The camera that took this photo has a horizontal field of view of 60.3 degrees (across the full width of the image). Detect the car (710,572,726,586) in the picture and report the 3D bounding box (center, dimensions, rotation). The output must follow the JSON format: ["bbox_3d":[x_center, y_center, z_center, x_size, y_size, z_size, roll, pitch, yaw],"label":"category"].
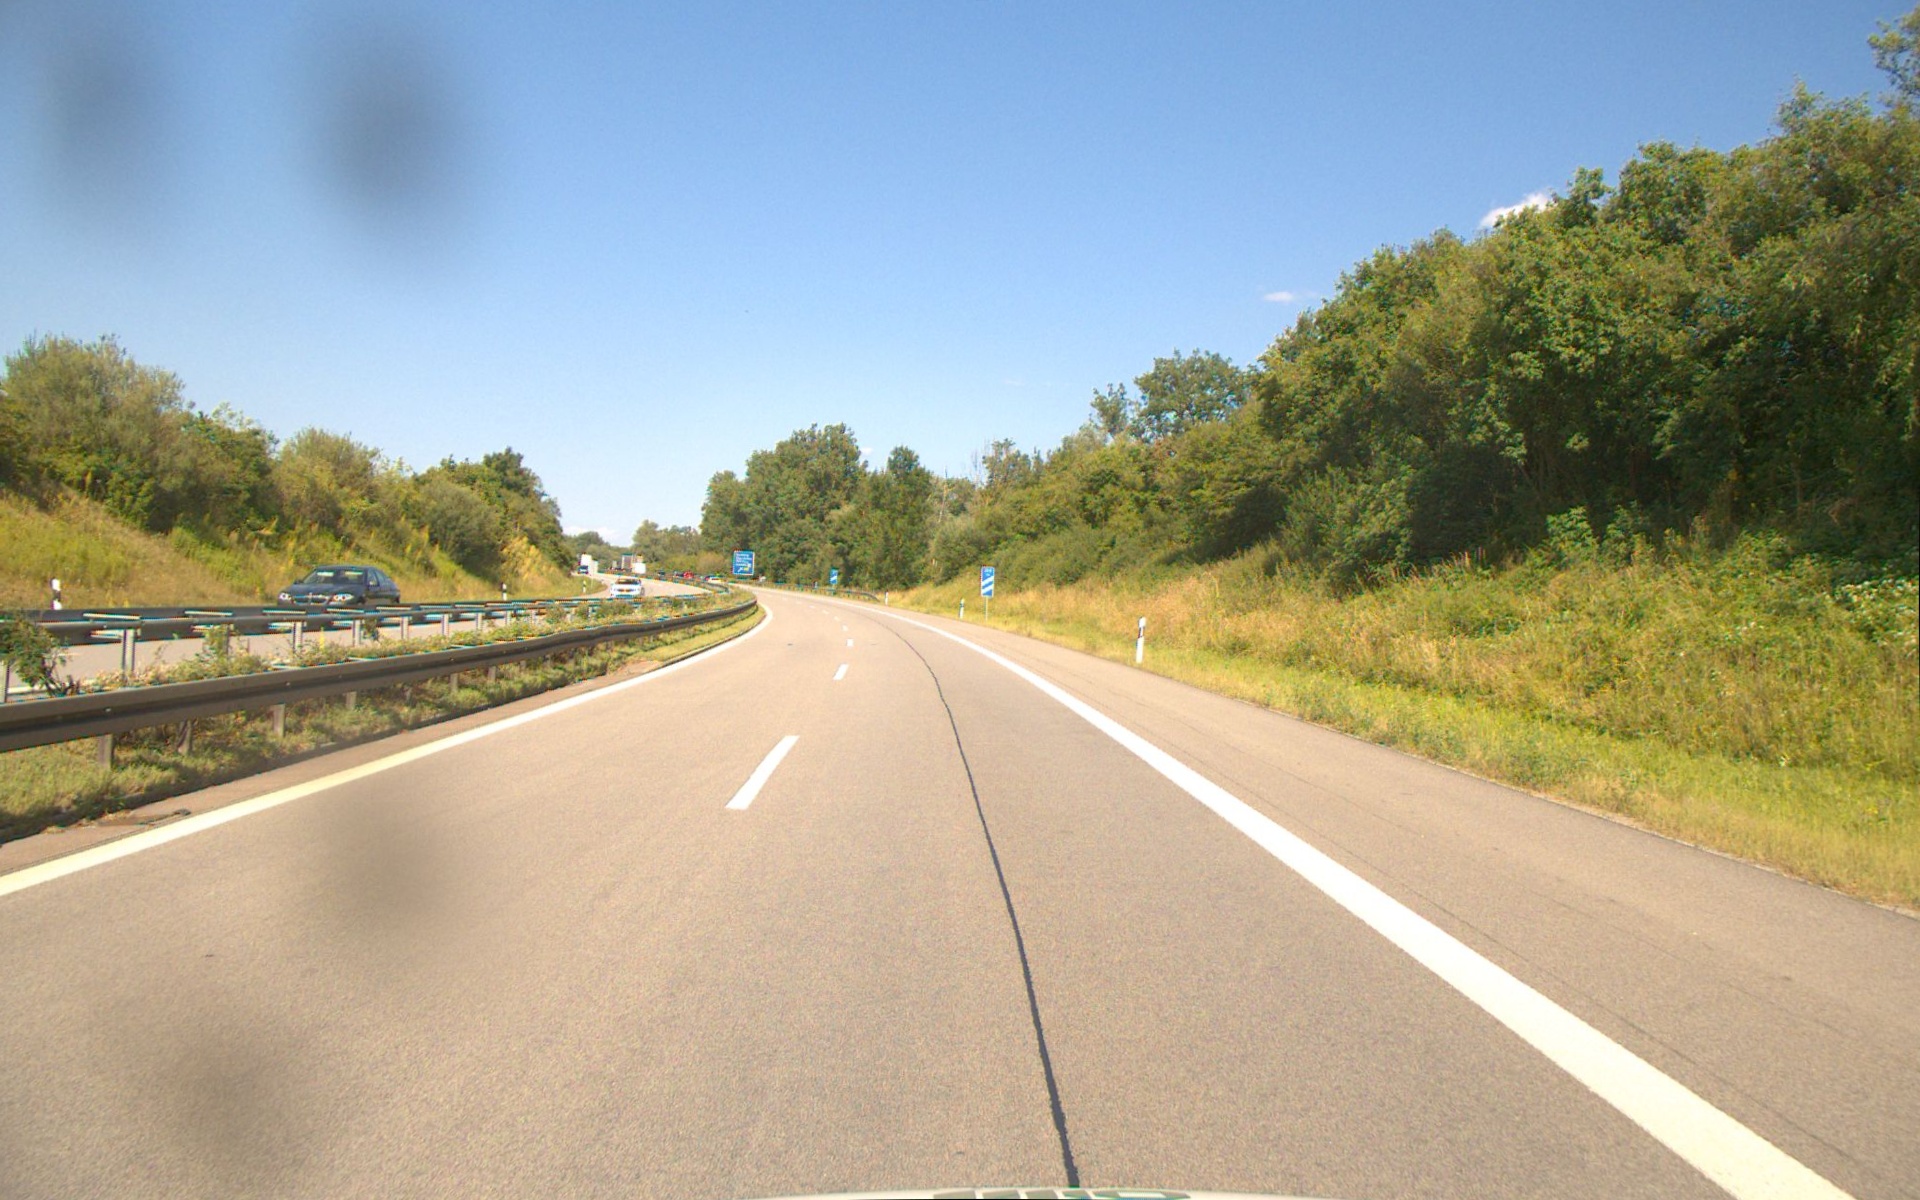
[{"bbox_3d":[-31.919,-2.716,218.017,2.024,1.653,3.990,2,-2,-10],"label":"car"}]

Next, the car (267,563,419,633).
[{"bbox_3d":[-14.951,-0.054,40.405,1.927,1.591,5.171,0,0,-2],"label":"car"}]

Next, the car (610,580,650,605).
[{"bbox_3d":[-20.030,-0.486,100.479,1.862,1.447,4.395,0,1,-4],"label":"car"}]
